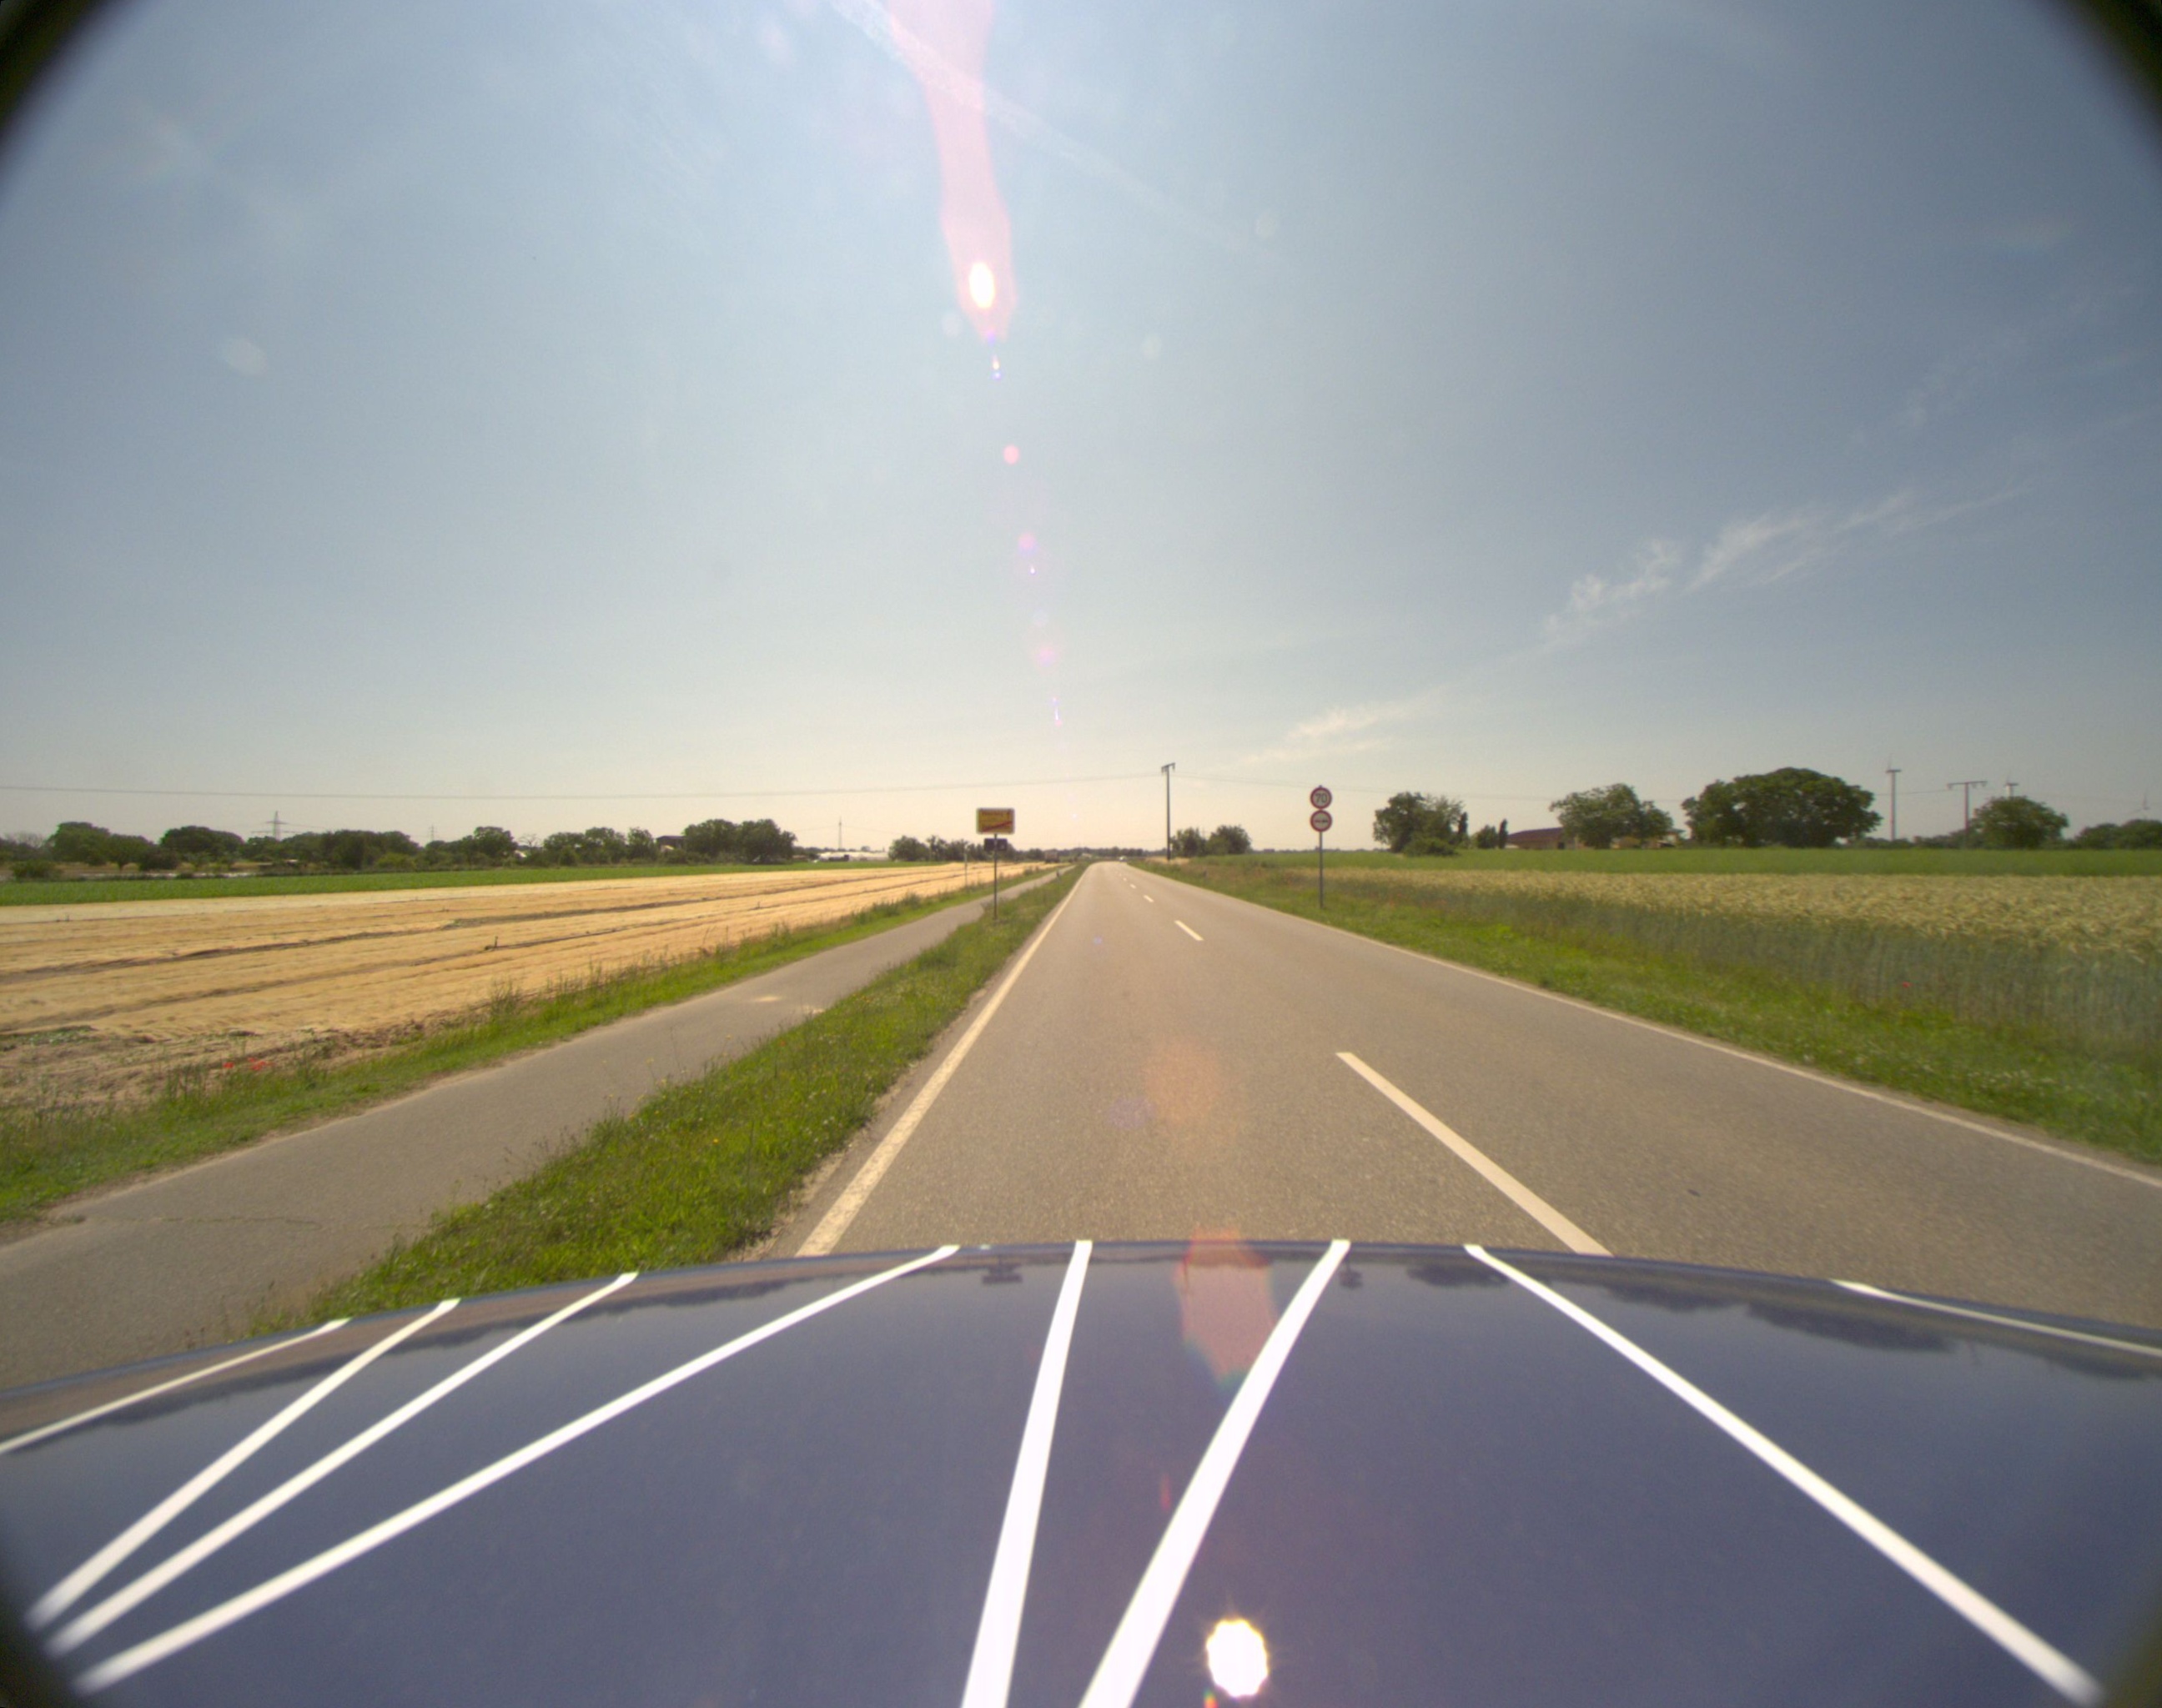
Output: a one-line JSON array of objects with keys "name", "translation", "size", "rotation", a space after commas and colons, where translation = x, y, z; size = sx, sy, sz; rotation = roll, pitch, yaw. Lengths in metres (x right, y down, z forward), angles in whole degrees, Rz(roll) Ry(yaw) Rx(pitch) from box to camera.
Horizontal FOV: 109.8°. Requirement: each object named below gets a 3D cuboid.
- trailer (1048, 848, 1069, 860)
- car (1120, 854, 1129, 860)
[{"name": "trailer", "translation": [-5.956, -0.060, 202.642], "size": [5.283, 2.936, 2.002], "rotation": [0, 2, 21]}, {"name": "car", "translation": [10.673, 0.790, 186.133], "size": [1.795, 1.401, 4.188], "rotation": [1, 0, 7]}]
